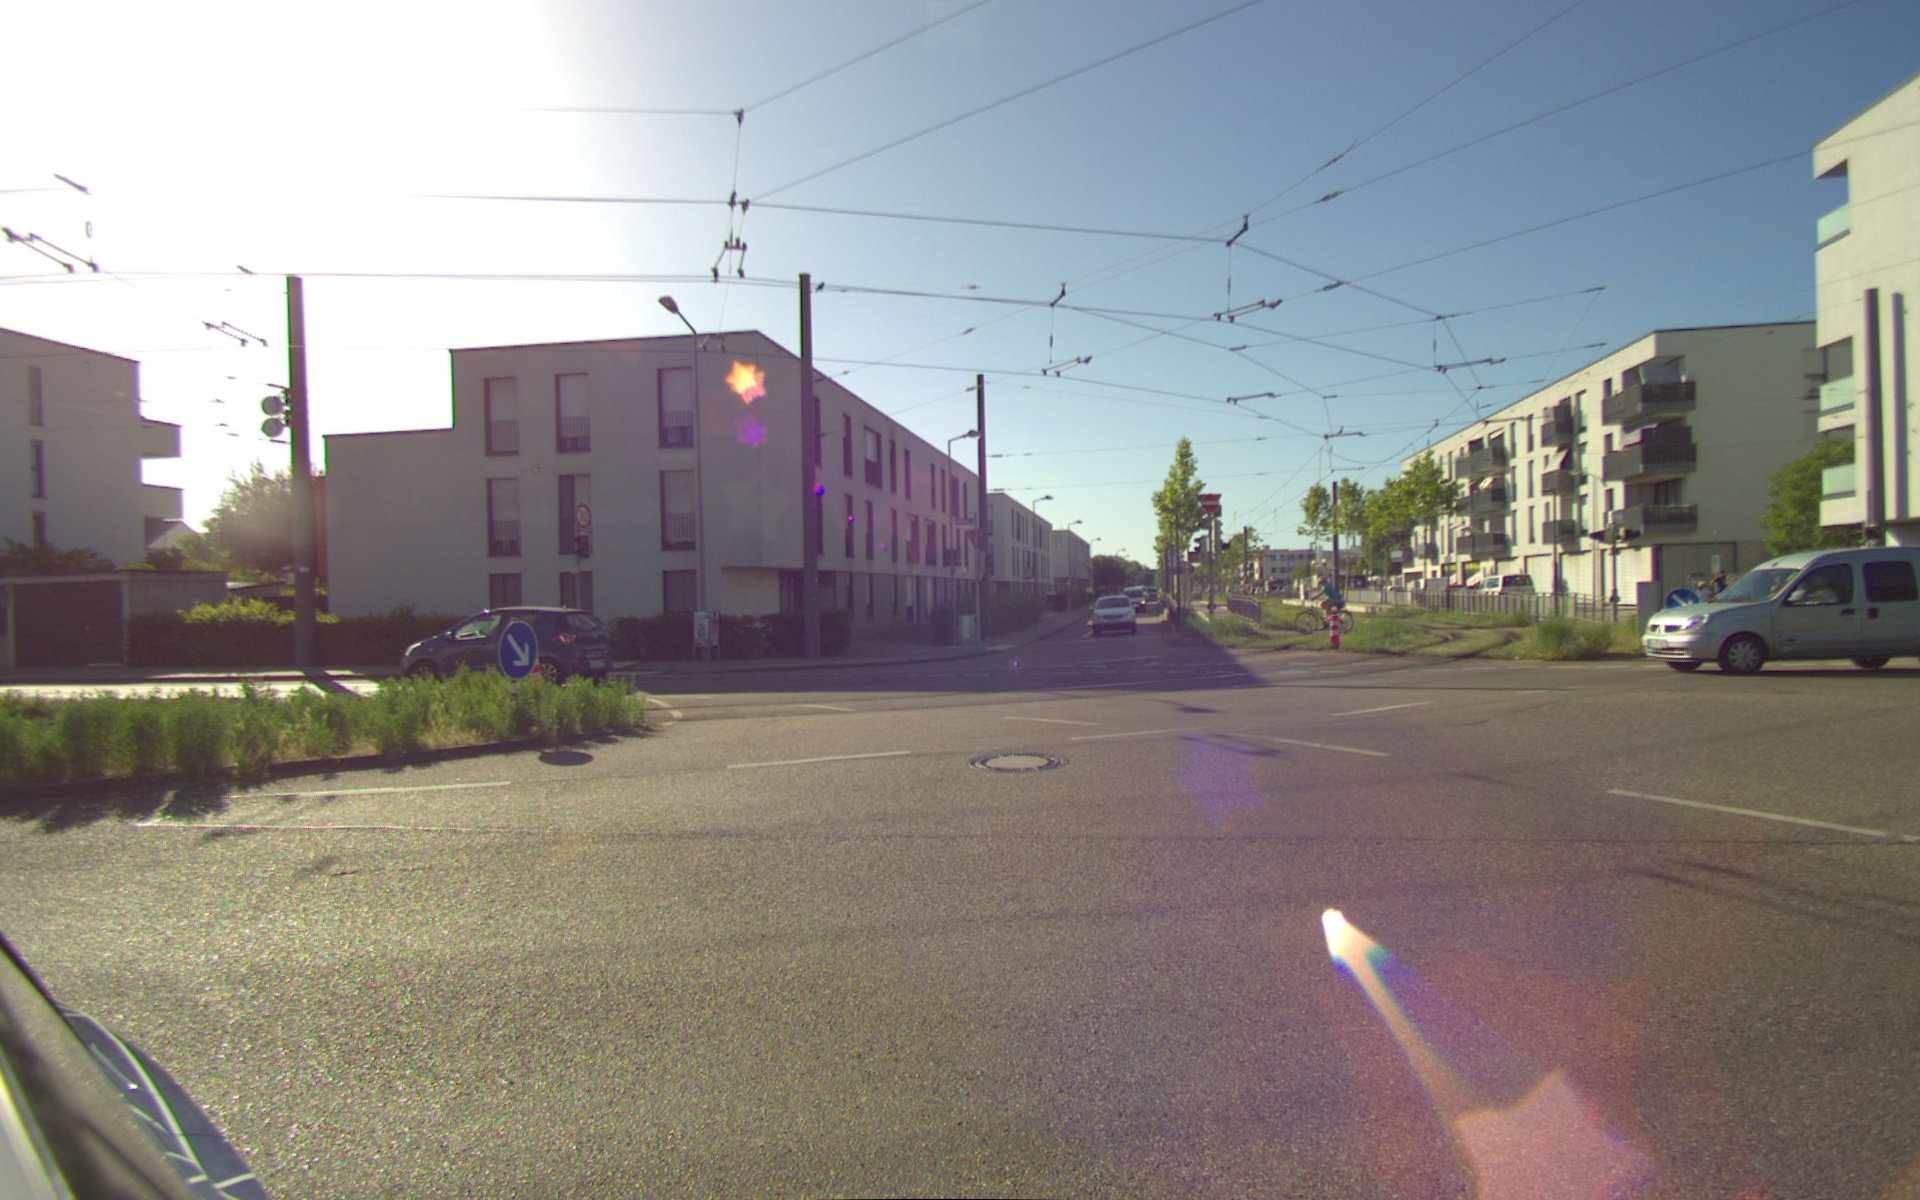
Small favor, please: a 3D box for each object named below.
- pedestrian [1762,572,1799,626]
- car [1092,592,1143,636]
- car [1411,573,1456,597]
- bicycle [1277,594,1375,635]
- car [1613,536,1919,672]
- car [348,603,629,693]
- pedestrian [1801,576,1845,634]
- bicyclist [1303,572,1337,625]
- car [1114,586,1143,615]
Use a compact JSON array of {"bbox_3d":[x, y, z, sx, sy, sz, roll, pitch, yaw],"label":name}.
[{"bbox_3d":[26.109,-0.034,32.203,0.746,1.698,0.572,-1,2,18],"label":"pedestrian"},{"bbox_3d":[6.553,0.545,42.198,1.986,1.677,3.989,-2,0,9],"label":"car"},{"bbox_3d":[34.172,-1.123,73.116,1.979,1.564,3.987,-1,2,11],"label":"car"},{"bbox_3d":[11.433,0.450,31.743,2.802,1.207,0.898,-2,0,19],"label":"bicycle"},{"bbox_3d":[12.257,0.044,14.559,4.313,1.768,1.994,-2,0,10],"label":"car"},{"bbox_3d":[-8.501,0.847,18.408,4.398,1.467,1.697,-2,0,7],"label":"car"},{"bbox_3d":[26.664,0.151,31.275,0.948,1.745,0.640,0,2,32],"label":"pedestrian"},{"bbox_3d":[11.300,-0.046,31.787,0.906,1.604,0.890,-2,0,18],"label":"bicyclist"},{"bbox_3d":[12.289,0.009,73.848,1.977,2.029,3.989,-2,0,9],"label":"car"}]
